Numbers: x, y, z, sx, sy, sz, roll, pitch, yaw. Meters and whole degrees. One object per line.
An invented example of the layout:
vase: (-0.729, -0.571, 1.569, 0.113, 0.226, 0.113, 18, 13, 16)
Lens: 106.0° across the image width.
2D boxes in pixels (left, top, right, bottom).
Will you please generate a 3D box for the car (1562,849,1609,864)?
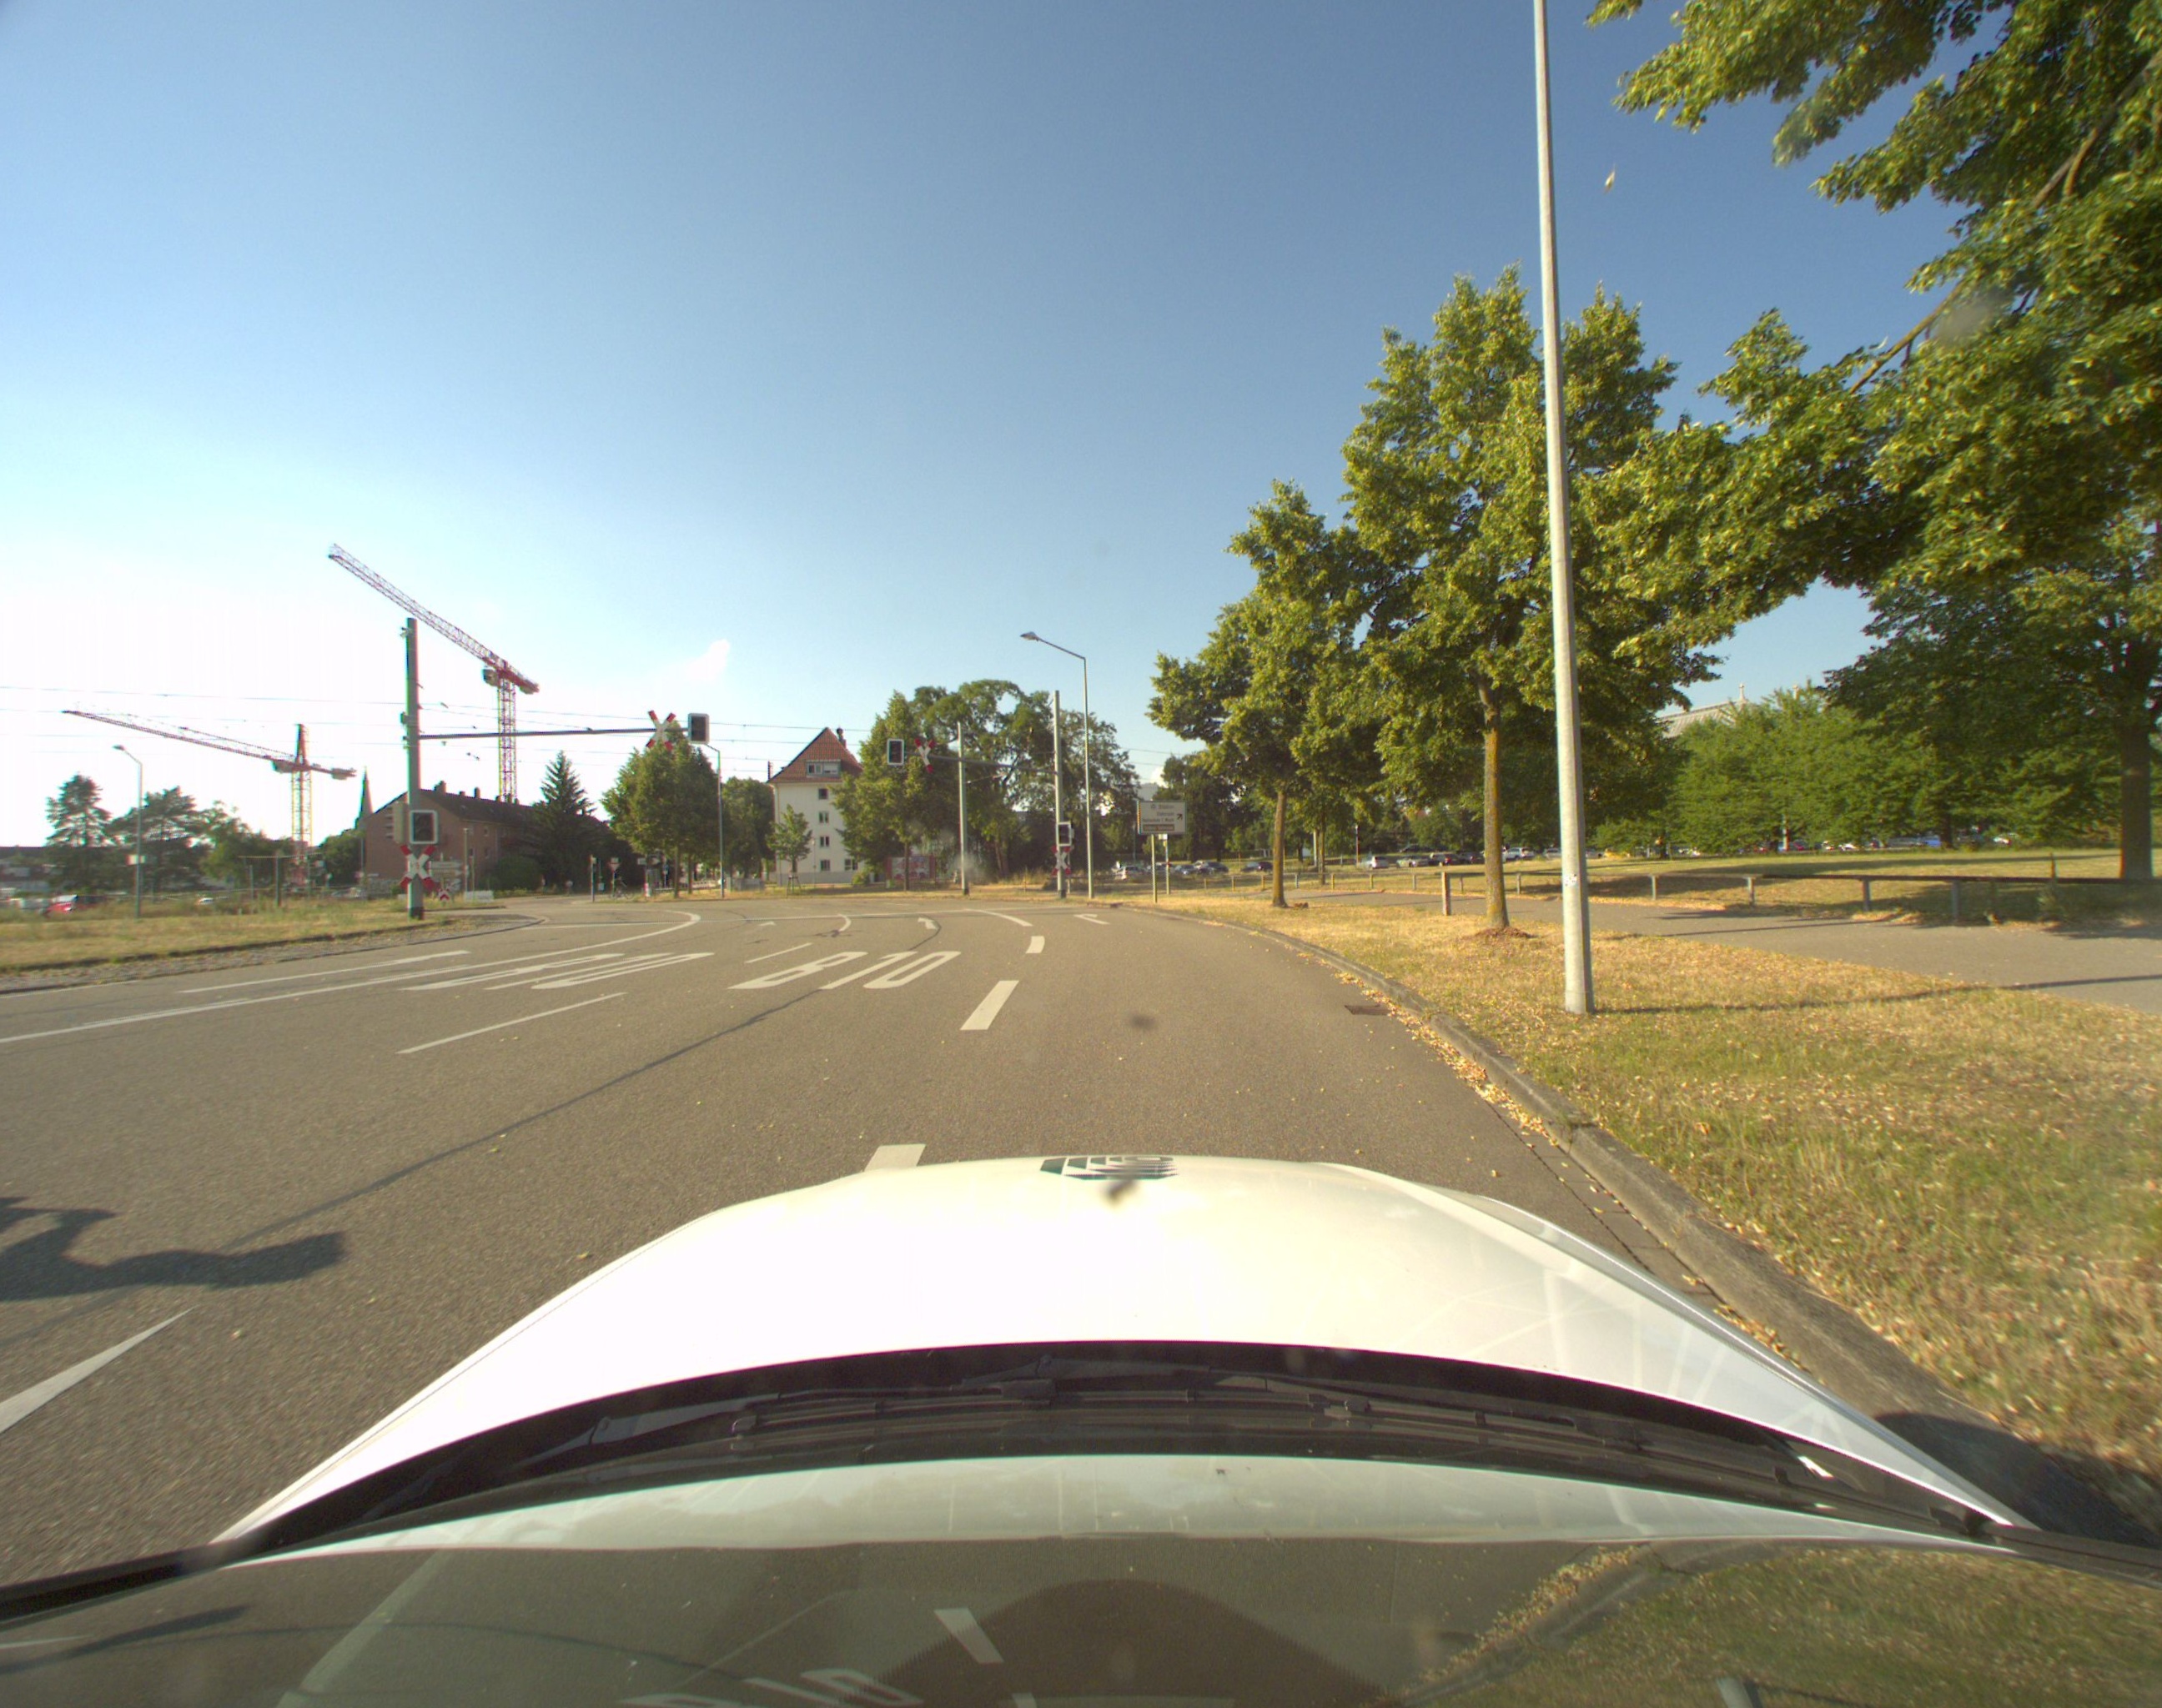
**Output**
car: (52.098, 0.277, 84.167, 1.823, 1.403, 3.984, -2, -1, -11)

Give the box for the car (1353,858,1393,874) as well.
car: (28.433, 1.177, 79.323, 1.823, 1.403, 3.984, -2, -1, -11)

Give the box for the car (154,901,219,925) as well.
car: (-85.155, 5.586, 77.568, 3.818, 2.014, 1.662, -2, -1, -17)

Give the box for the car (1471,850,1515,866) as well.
car: (41.350, 0.443, 81.838, 1.823, 1.403, 3.984, -2, -1, -11)

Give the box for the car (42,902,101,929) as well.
car: (-77.892, 4.743, 62.813, 3.950, 1.854, 1.937, -2, -1, 25)

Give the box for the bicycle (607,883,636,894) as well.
bicycle: (-38.042, 2.843, 67.462, 2.004, 0.825, 0.425, -2, -1, -41)

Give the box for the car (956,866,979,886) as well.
car: (-9.801, 1.898, 70.530, 1.770, 1.618, 3.958, -2, -1, -7)

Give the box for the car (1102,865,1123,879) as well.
car: (3.288, 1.889, 86.103, 1.600, 1.402, 3.958, -2, -1, -7)

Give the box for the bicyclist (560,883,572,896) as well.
bicyclist: (-59.944, 4.124, 94.790, 0.655, 1.562, 0.895, -2, -1, 3)

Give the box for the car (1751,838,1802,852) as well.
car: (76.472, -0.979, 89.603, 1.823, 1.403, 3.984, -2, -1, -11)

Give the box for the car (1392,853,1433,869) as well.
car: (32.841, 0.693, 80.678, 1.823, 1.403, 3.984, -2, -1, -11)

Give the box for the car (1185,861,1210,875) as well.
car: (12.493, 1.505, 87.357, 1.600, 1.402, 3.958, -2, -1, -7)

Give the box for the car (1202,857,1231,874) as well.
car: (12.516, 1.093, 75.410, 1.600, 1.402, 3.958, -2, -1, -7)

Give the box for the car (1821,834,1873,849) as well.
car: (86.429, -1.409, 91.929, 1.823, 1.403, 3.984, -2, -1, -11)

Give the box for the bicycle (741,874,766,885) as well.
bicycle: (-28.929, 2.226, 71.855, 2.004, 0.918, 0.425, -2, -1, -41)

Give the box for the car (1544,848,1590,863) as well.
car: (49.692, 0.180, 83.305, 1.823, 1.403, 3.984, -2, -1, -11)

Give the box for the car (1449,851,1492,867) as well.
car: (38.682, 0.539, 81.016, 1.823, 1.403, 3.984, -2, -1, -11)

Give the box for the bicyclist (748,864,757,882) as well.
bicyclist: (-28.999, 1.659, 71.824, 0.627, 1.511, 0.414, -1, -1, -41)

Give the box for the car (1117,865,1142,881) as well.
car: (4.396, 1.740, 74.164, 1.600, 1.402, 3.958, -2, -1, -7)

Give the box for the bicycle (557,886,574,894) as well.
bicycle: (-59.971, 4.182, 94.731, 0.594, 0.963, 2.106, -2, -1, 2)

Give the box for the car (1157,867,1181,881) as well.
car: (9.338, 2.089, 86.873, 1.600, 1.402, 3.958, -2, -1, -7)

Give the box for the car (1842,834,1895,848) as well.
car: (89.224, -1.460, 92.296, 1.823, 1.403, 3.984, -2, -1, -11)

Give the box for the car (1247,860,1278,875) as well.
car: (16.947, 1.311, 76.157, 1.600, 1.310, 3.958, -2, -1, -7)

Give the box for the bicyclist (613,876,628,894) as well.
bicyclist: (-38.151, 2.578, 67.467, 0.905, 1.396, 0.519, -1, -1, -41)

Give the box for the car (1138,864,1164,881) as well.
car: (6.374, 1.705, 74.658, 1.600, 1.402, 3.958, -2, -1, -7)

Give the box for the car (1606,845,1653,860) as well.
car: (57.597, -0.102, 85.572, 1.823, 1.403, 3.984, -2, -1, -11)

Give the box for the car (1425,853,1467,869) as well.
car: (36.149, 0.694, 80.700, 1.823, 1.403, 3.984, -2, -1, -11)

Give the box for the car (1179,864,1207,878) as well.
car: (10.333, 1.556, 75.266, 1.600, 1.221, 3.958, -2, -1, -7)

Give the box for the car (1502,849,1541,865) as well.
car: (51.830, 0.374, 95.927, 1.823, 1.672, 3.984, -2, -1, -11)
